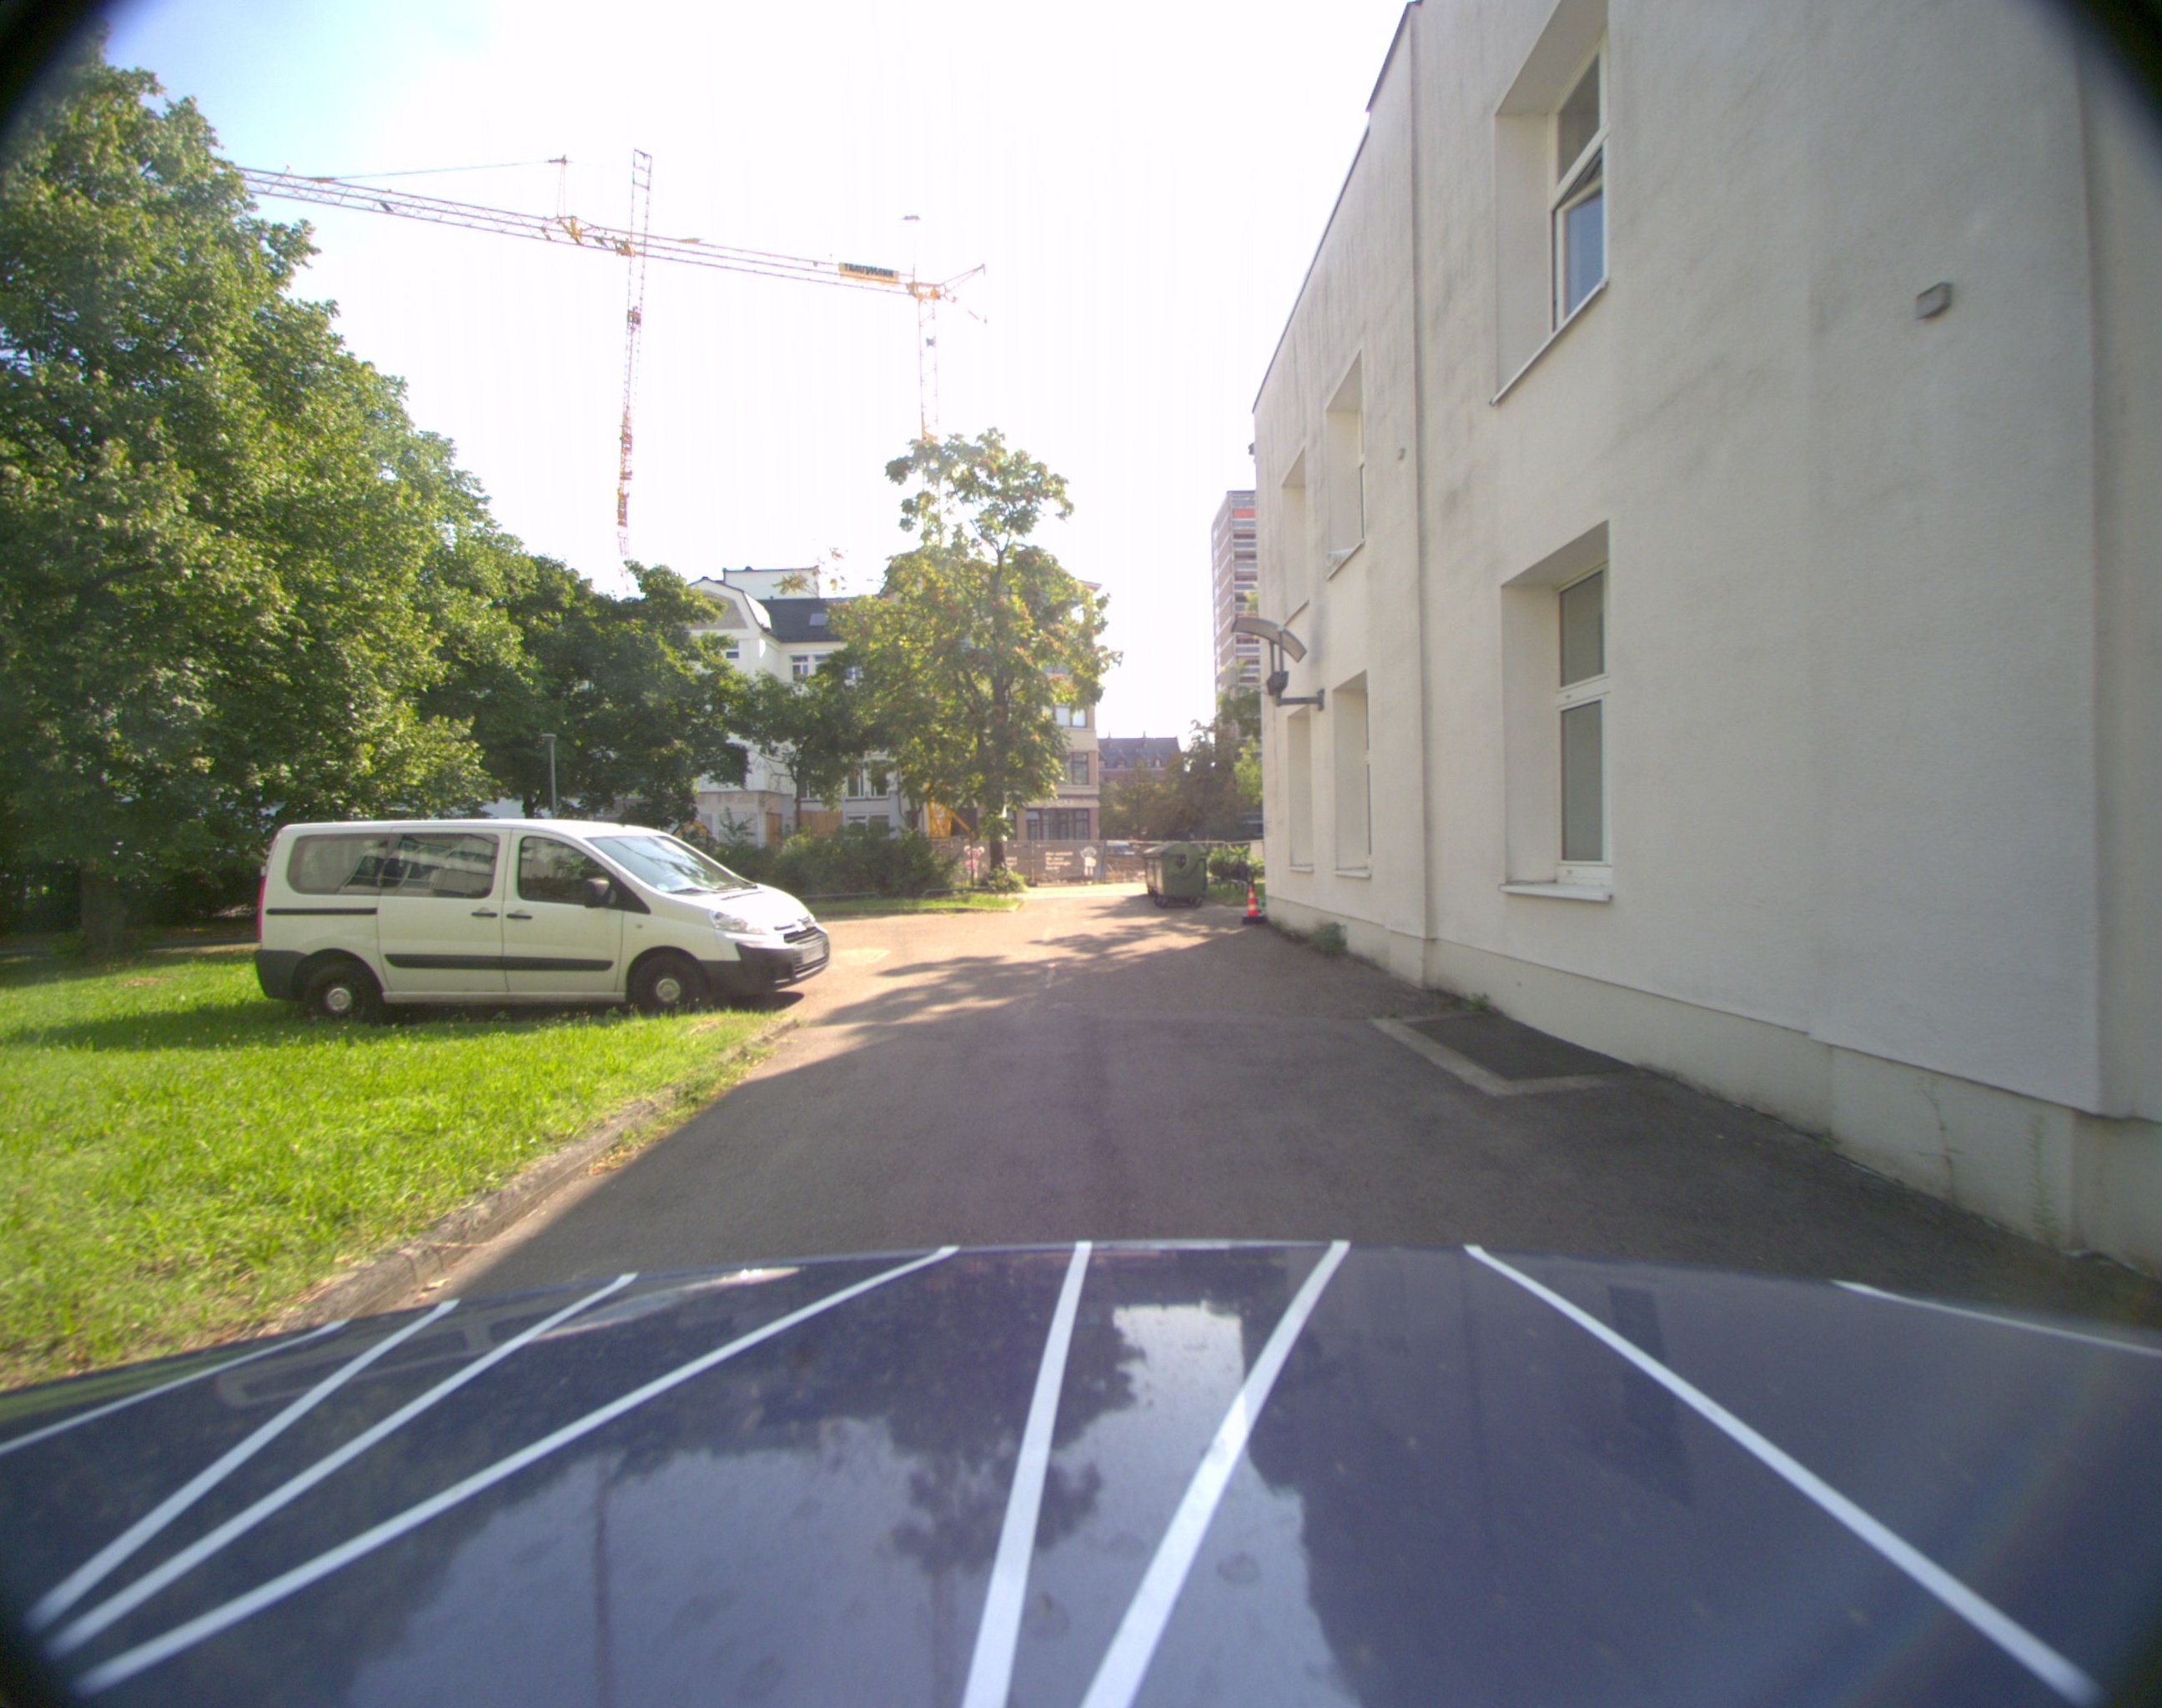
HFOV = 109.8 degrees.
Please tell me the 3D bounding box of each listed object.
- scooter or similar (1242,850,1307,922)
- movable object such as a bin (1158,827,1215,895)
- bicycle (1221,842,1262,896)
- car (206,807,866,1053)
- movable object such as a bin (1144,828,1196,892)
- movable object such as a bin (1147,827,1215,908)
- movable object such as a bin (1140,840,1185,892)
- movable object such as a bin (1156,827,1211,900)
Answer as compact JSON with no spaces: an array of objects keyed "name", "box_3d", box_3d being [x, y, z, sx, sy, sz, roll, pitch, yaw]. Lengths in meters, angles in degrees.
[{"name":"scooter or similar","box_3d":[3.600,0.561,14.242,0.386,1.255,1.493,-3,2,-20]},{"name":"movable object such as a bin","box_3d":[2.784,0.172,20.177,1.184,1.696,1.376,-2,2,-4]},{"name":"bicycle","box_3d":[3.889,0.337,18.505,0.477,1.206,2.007,-2,2,-2]},{"name":"car","box_3d":[-4.971,0.639,7.529,4.969,1.910,2.043,-3,2,2]},{"name":"movable object such as a bin","box_3d":[2.509,0.145,21.572,1.184,1.696,1.376,-2,2,-4]},{"name":"movable object such as a bin","box_3d":[2.204,0.279,16.967,1.184,1.696,1.376,-2,2,-4]},{"name":"movable object such as a bin","box_3d":[2.454,0.329,22.976,1.037,1.489,1.106,-3,2,-12]},{"name":"movable object such as a bin","box_3d":[2.511,0.220,18.768,1.183,1.696,1.395,-2,2,4]}]
